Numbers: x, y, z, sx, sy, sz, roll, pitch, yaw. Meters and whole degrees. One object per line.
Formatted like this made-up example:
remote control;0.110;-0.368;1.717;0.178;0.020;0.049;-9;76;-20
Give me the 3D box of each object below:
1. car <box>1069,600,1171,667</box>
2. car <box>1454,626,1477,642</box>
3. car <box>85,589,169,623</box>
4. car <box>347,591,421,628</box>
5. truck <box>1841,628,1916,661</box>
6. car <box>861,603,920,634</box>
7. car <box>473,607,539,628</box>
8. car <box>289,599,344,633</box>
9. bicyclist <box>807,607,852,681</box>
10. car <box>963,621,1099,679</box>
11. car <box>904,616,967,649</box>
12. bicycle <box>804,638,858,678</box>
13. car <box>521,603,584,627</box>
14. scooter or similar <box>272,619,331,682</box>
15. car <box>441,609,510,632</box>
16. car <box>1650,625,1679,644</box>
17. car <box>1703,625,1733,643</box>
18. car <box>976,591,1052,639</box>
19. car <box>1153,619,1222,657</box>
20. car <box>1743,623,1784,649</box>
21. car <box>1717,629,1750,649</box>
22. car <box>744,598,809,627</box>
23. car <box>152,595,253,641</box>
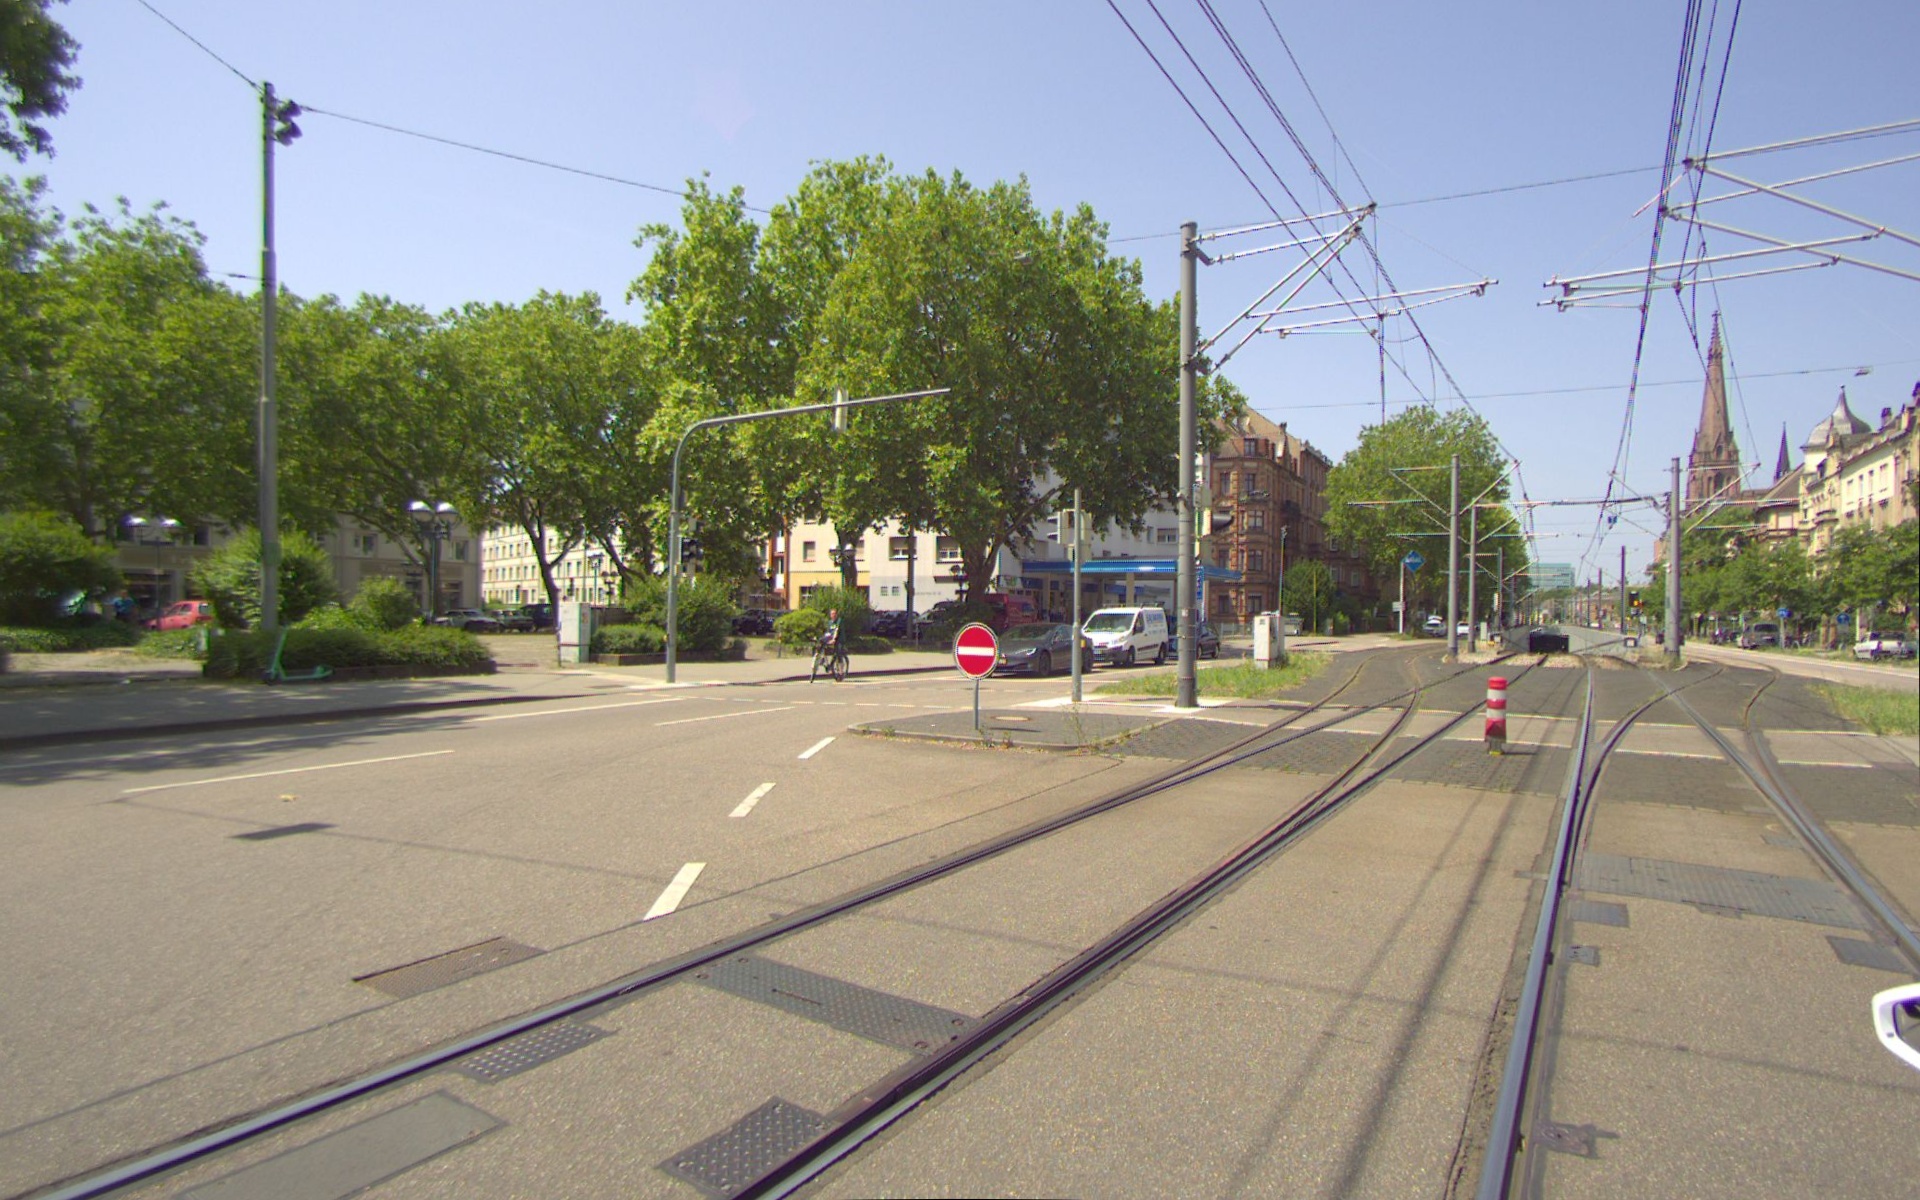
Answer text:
car;5.356;1.064;33.073;1.750;2.017;4.797;1;-1;29
car;54.390;3.604;108.071;1.821;1.647;4.592;-1;-1;31
car;-29.580;0.202;35.665;2.688;1.112;1.356;2;0;28
car;-32.844;0.547;57.269;3.933;1.975;2.159;2;0;35
truck;44.737;2.154;49.032;1.764;1.546;4.456;-2;-3;30
car;-3.990;1.054;58.159;1.557;1.715;3.920;1;-1;28
car;-28.973;1.093;64.106;3.780;1.272;1.920;1;0;29
car;-41.201;1.012;64.294;3.861;1.975;1.569;2;0;35
bicyclist;-3.107;1.030;23.946;0.628;1.708;0.868;2;0;27
car;2.041;1.297;27.410;1.918;1.377;4.620;1;0;29
car;-1.273;1.718;54.136;1.558;1.664;3.917;0;-1;31
bicycle;-3.075;1.374;24.010;0.488;0.894;1.480;2;0;28
car;-26.218;0.947;64.605;3.780;1.507;1.731;1;0;29
scooter or similar;-12.198;0.923;18.603;0.254;1.135;0.855;2;0;43
car;-29.710;1.251;61.590;3.780;1.272;1.920;2;0;29
car;61.439;3.014;87.655;1.724;1.559;3.751;2;0;30
car;70.117;3.152;92.922;1.724;1.599;3.751;2;0;30
car;2.893;0.780;52.889;1.821;2.424;4.969;1;-1;32
car;8.985;1.471;39.487;1.573;1.439;3.775;-1;-2;30
car;58.032;2.567;72.616;1.724;1.728;3.751;2;0;30
car;67.724;3.390;87.988;1.724;1.599;3.751;2;0;30
car;-11.072;0.767;60.854;1.808;1.715;3.920;0;-1;28
car;-24.866;0.573;32.944;3.285;1.402;1.470;2;0;30
